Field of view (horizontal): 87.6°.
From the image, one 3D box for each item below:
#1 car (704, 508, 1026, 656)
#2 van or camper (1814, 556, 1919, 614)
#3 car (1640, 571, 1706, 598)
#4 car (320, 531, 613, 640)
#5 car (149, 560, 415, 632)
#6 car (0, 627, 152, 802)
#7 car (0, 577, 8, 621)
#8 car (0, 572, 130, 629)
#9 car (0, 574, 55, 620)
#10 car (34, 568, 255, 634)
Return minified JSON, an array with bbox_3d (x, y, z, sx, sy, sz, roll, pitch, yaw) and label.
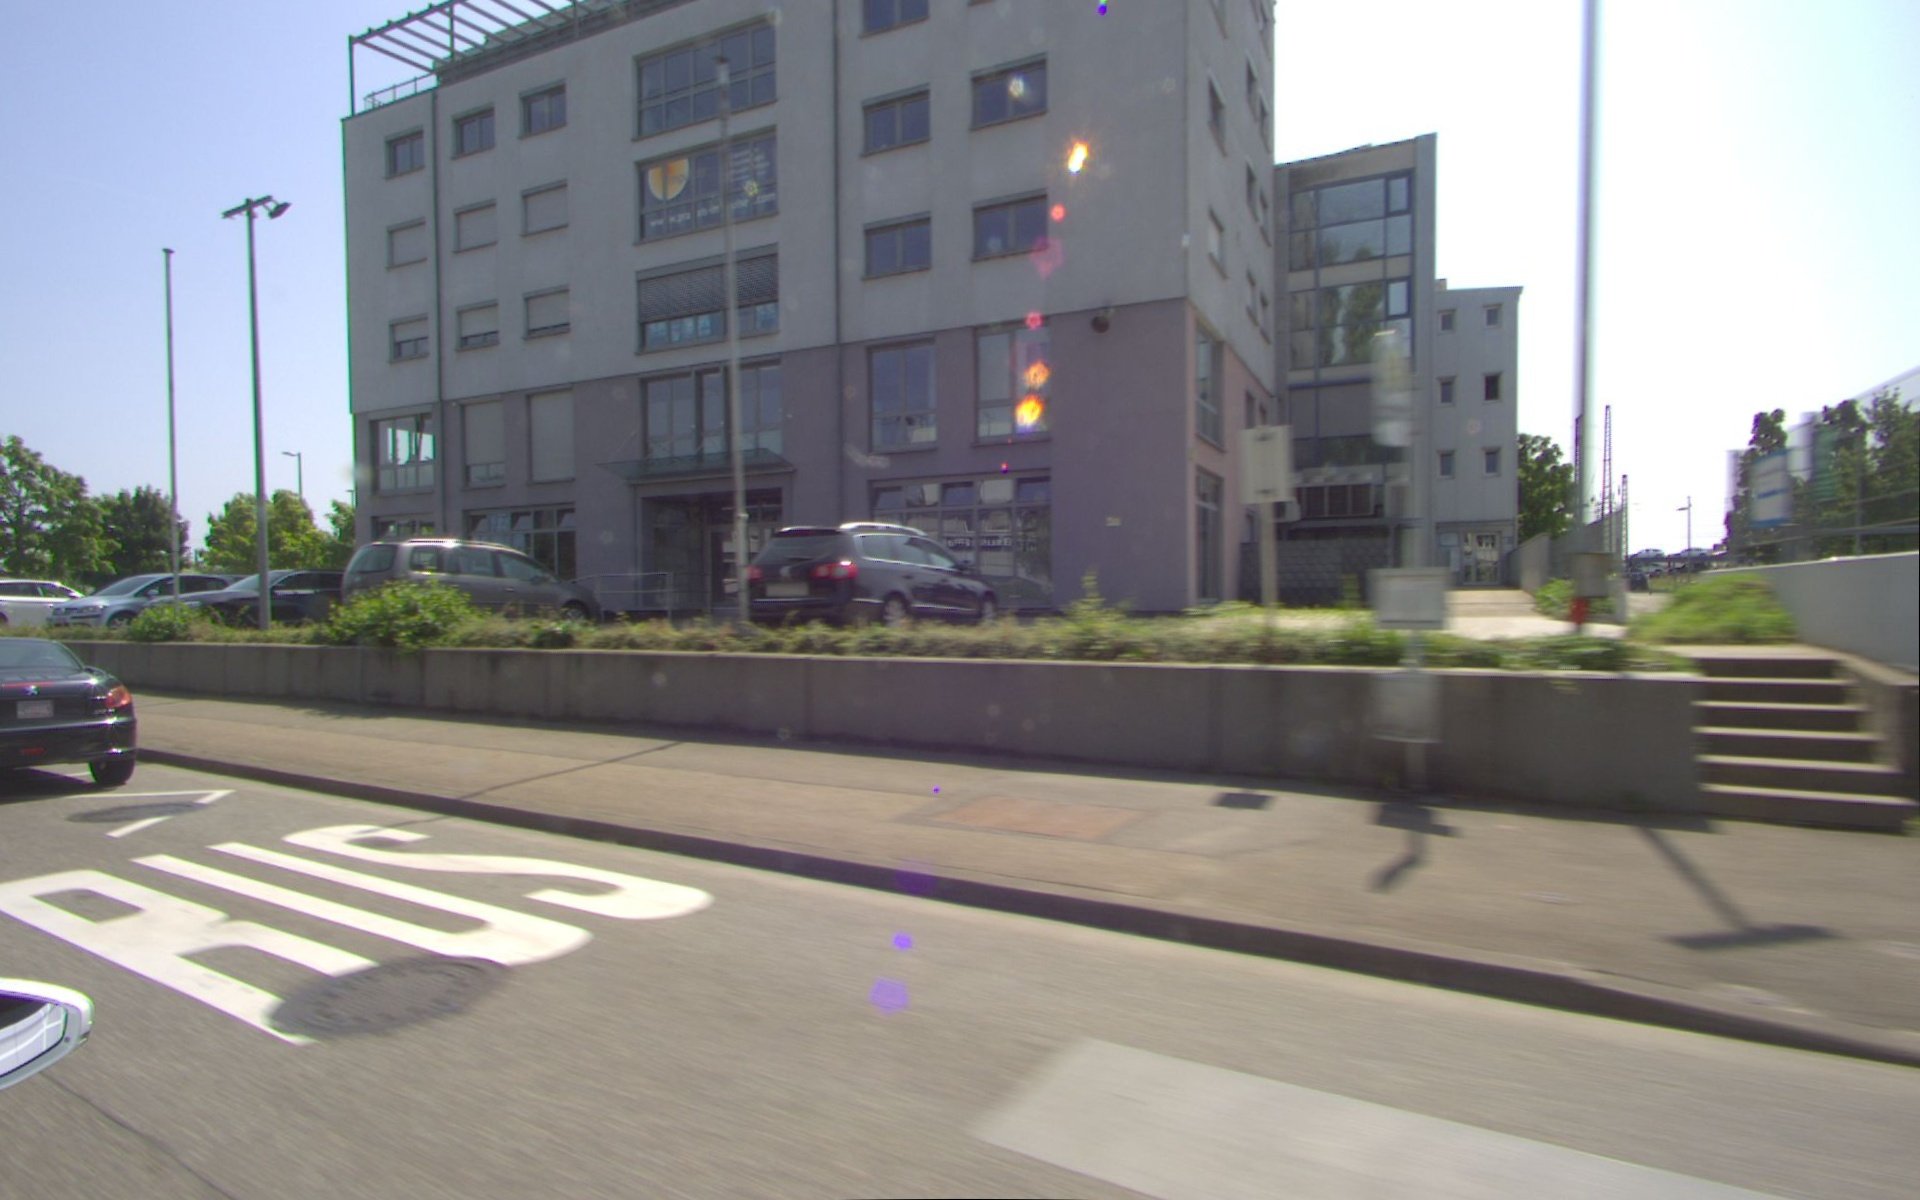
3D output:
[{"bbox_3d":[-1.031,-0.223,13.272,1.971,1.604,4.490,-1,1,31],"label":"car"},{"bbox_3d":[30.562,-0.492,32.173,4.471,1.819,1.989,-1,1,32],"label":"van or camper"},{"bbox_3d":[56.661,-1.226,79.664,4.070,2.001,1.991,1,-1,31],"label":"car"},{"bbox_3d":[-8.479,-0.252,17.597,1.971,1.669,4.219,-1,1,31],"label":"car"},{"bbox_3d":[-14.465,-0.114,21.626,1.970,1.387,4.312,-1,1,30],"label":"car"},{"bbox_3d":[-9.298,0.977,9.405,3.553,1.382,1.624,0,-1,33],"label":"car"},{"bbox_3d":[-36.210,0.009,34.899,1.970,1.565,3.980,-1,1,30],"label":"car"},{"bbox_3d":[-26.940,0.020,28.645,1.971,1.565,4.526,-1,1,31],"label":"car"},{"bbox_3d":[-33.668,-0.082,33.719,1.970,1.565,4.339,-1,1,30],"label":"car"},{"bbox_3d":[-19.875,0.003,24.627,1.732,1.472,3.929,-1,1,14],"label":"car"}]
